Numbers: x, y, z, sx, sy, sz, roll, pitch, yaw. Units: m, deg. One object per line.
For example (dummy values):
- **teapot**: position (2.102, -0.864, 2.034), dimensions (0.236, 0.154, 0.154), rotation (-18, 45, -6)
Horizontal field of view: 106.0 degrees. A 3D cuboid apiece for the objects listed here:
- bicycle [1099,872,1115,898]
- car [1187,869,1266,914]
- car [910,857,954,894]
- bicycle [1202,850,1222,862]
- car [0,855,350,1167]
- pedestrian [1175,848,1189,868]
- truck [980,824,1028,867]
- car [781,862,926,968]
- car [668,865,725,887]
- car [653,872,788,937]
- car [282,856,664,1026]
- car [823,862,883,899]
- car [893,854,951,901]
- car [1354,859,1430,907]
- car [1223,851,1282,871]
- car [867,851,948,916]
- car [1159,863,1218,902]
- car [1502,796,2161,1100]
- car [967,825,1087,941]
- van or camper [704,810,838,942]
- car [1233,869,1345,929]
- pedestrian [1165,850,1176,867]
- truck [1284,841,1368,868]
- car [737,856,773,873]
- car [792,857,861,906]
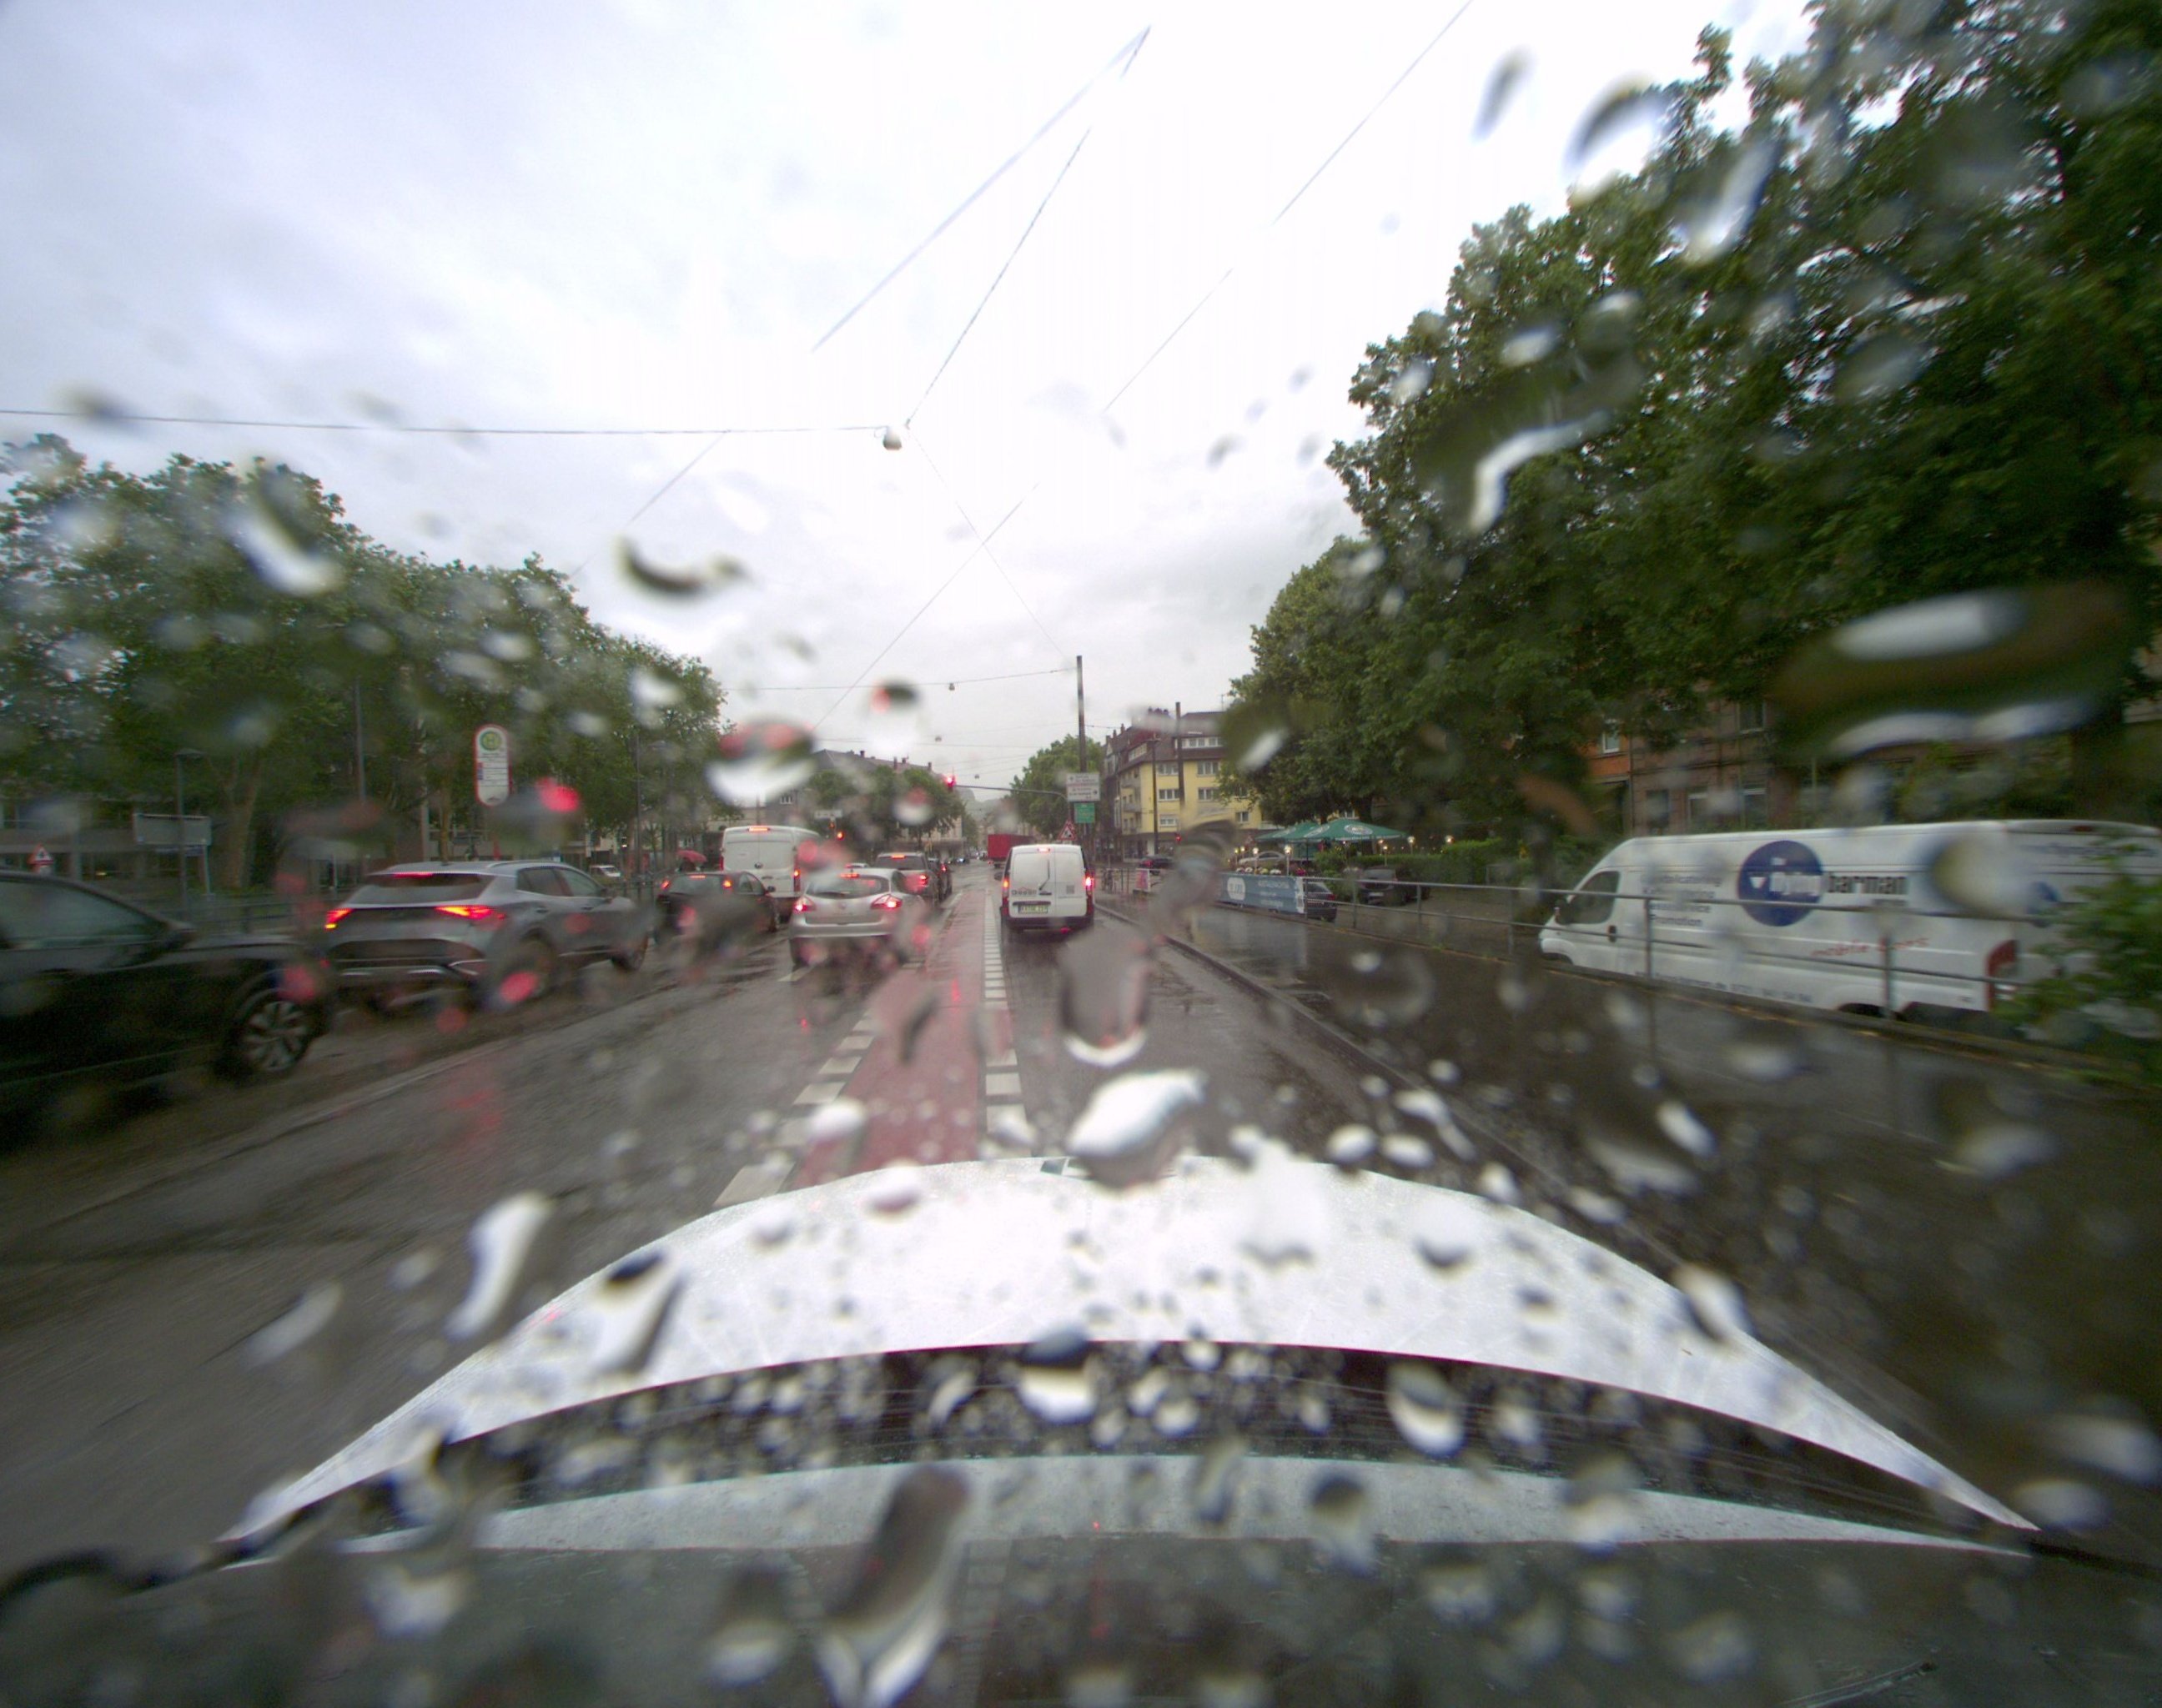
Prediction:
- **bicycle**: position (1.204, 1.424, 38.043), dimensions (0.513, 1.107, 2.013), rotation (2, 0, -5)
- **car**: position (5.077, 1.271, 28.900), dimensions (1.701, 1.400, 3.964), rotation (0, 0, -6)
- **car**: position (-6.773, 0.943, 37.350), dimensions (1.725, 1.578, 3.812), rotation (0, 0, -6)
- **bicycle**: position (14.182, 0.264, 88.087), dimensions (2.089, 1.261, 0.533), rotation (-1, 1, 8)
- **car**: position (-6.648, 0.844, 4.336), dimensions (1.992, 1.620, 4.308), rotation (-2, 0, -8)
- **pedestrian**: position (8.355, 0.332, 67.222), dimensions (0.896, 1.669, 1.025), rotation (-1, -1, 23)
- **truck**: position (-9.656, -1.006, 104.854), dimensions (3.453, 5.088, 15.326), rotation (-1, 0, 5)
- **car**: position (-3.631, 0.884, 13.656), dimensions (1.766, 1.477, 3.990), rotation (0, 0, -7)
- **car**: position (-24.013, 1.355, 50.979), dimensions (1.586, 1.314, 3.531), rotation (-1, 0, 8)
- **car**: position (-7.382, 0.972, 17.069), dimensions (1.462, 1.118, 4.077), rotation (0, 0, -7)
- **car**: position (-7.268, 0.888, 10.463), dimensions (1.913, 1.624, 4.443), rotation (-2, 0, -7)
- **car**: position (-9.974, 1.113, 35.872), dimensions (1.841, 1.484, 3.992), rotation (0, 0, -6)
- **car**: position (-6.074, 0.870, 31.430), dimensions (1.832, 1.668, 4.163), rotation (0, 0, -6)
- **car**: position (12.177, 1.065, 31.715), dimensions (1.974, 1.713, 4.025), rotation (-1, -1, 32)
- **car**: position (15.041, 0.655, 71.600), dimensions (4.913, 1.643, 2.003), rotation (-1, -3, 5)
- **car**: position (-5.185, 0.836, 24.879), dimensions (2.023, 1.770, 4.451), rotation (0, 0, -7)
- **car**: position (4.472, 1.164, 34.344), dimensions (1.702, 1.442, 3.519), rotation (2, 1, -4)
- **car**: position (8.039, 0.777, 9.713), dimensions (2.208, 2.420, 6.140), rotation (0, -1, -9)
- **car**: position (-1.218, 0.542, 16.903), dimensions (2.098, 2.012, 4.951), rotation (-1, -1, -6)
- **van or camper**: position (-8.412, 0.543, 22.740), dimensions (2.157, 3.141, 5.835), rotation (-2, 0, -8)
- **car**: position (5.882, 1.224, 23.529), dimensions (1.731, 1.539, 4.063), rotation (0, 0, -8)
- **pedestrian**: position (8.250, 0.424, 75.016), dimensions (0.821, 1.534, 0.615), rotation (0, -1, -45)
- **truck**: position (18.540, 0.046, 61.872), dimensions (5.731, 2.014, 2.110), rotation (0, -1, -2)
- **car**: position (-45.339, 1.445, 113.381), dimensions (1.978, 2.198, 4.810), rotation (0, 1, 17)
- **car**: position (-9.176, 0.936, 29.627), dimensions (1.643, 1.629, 3.827), rotation (-1, 0, -6)
